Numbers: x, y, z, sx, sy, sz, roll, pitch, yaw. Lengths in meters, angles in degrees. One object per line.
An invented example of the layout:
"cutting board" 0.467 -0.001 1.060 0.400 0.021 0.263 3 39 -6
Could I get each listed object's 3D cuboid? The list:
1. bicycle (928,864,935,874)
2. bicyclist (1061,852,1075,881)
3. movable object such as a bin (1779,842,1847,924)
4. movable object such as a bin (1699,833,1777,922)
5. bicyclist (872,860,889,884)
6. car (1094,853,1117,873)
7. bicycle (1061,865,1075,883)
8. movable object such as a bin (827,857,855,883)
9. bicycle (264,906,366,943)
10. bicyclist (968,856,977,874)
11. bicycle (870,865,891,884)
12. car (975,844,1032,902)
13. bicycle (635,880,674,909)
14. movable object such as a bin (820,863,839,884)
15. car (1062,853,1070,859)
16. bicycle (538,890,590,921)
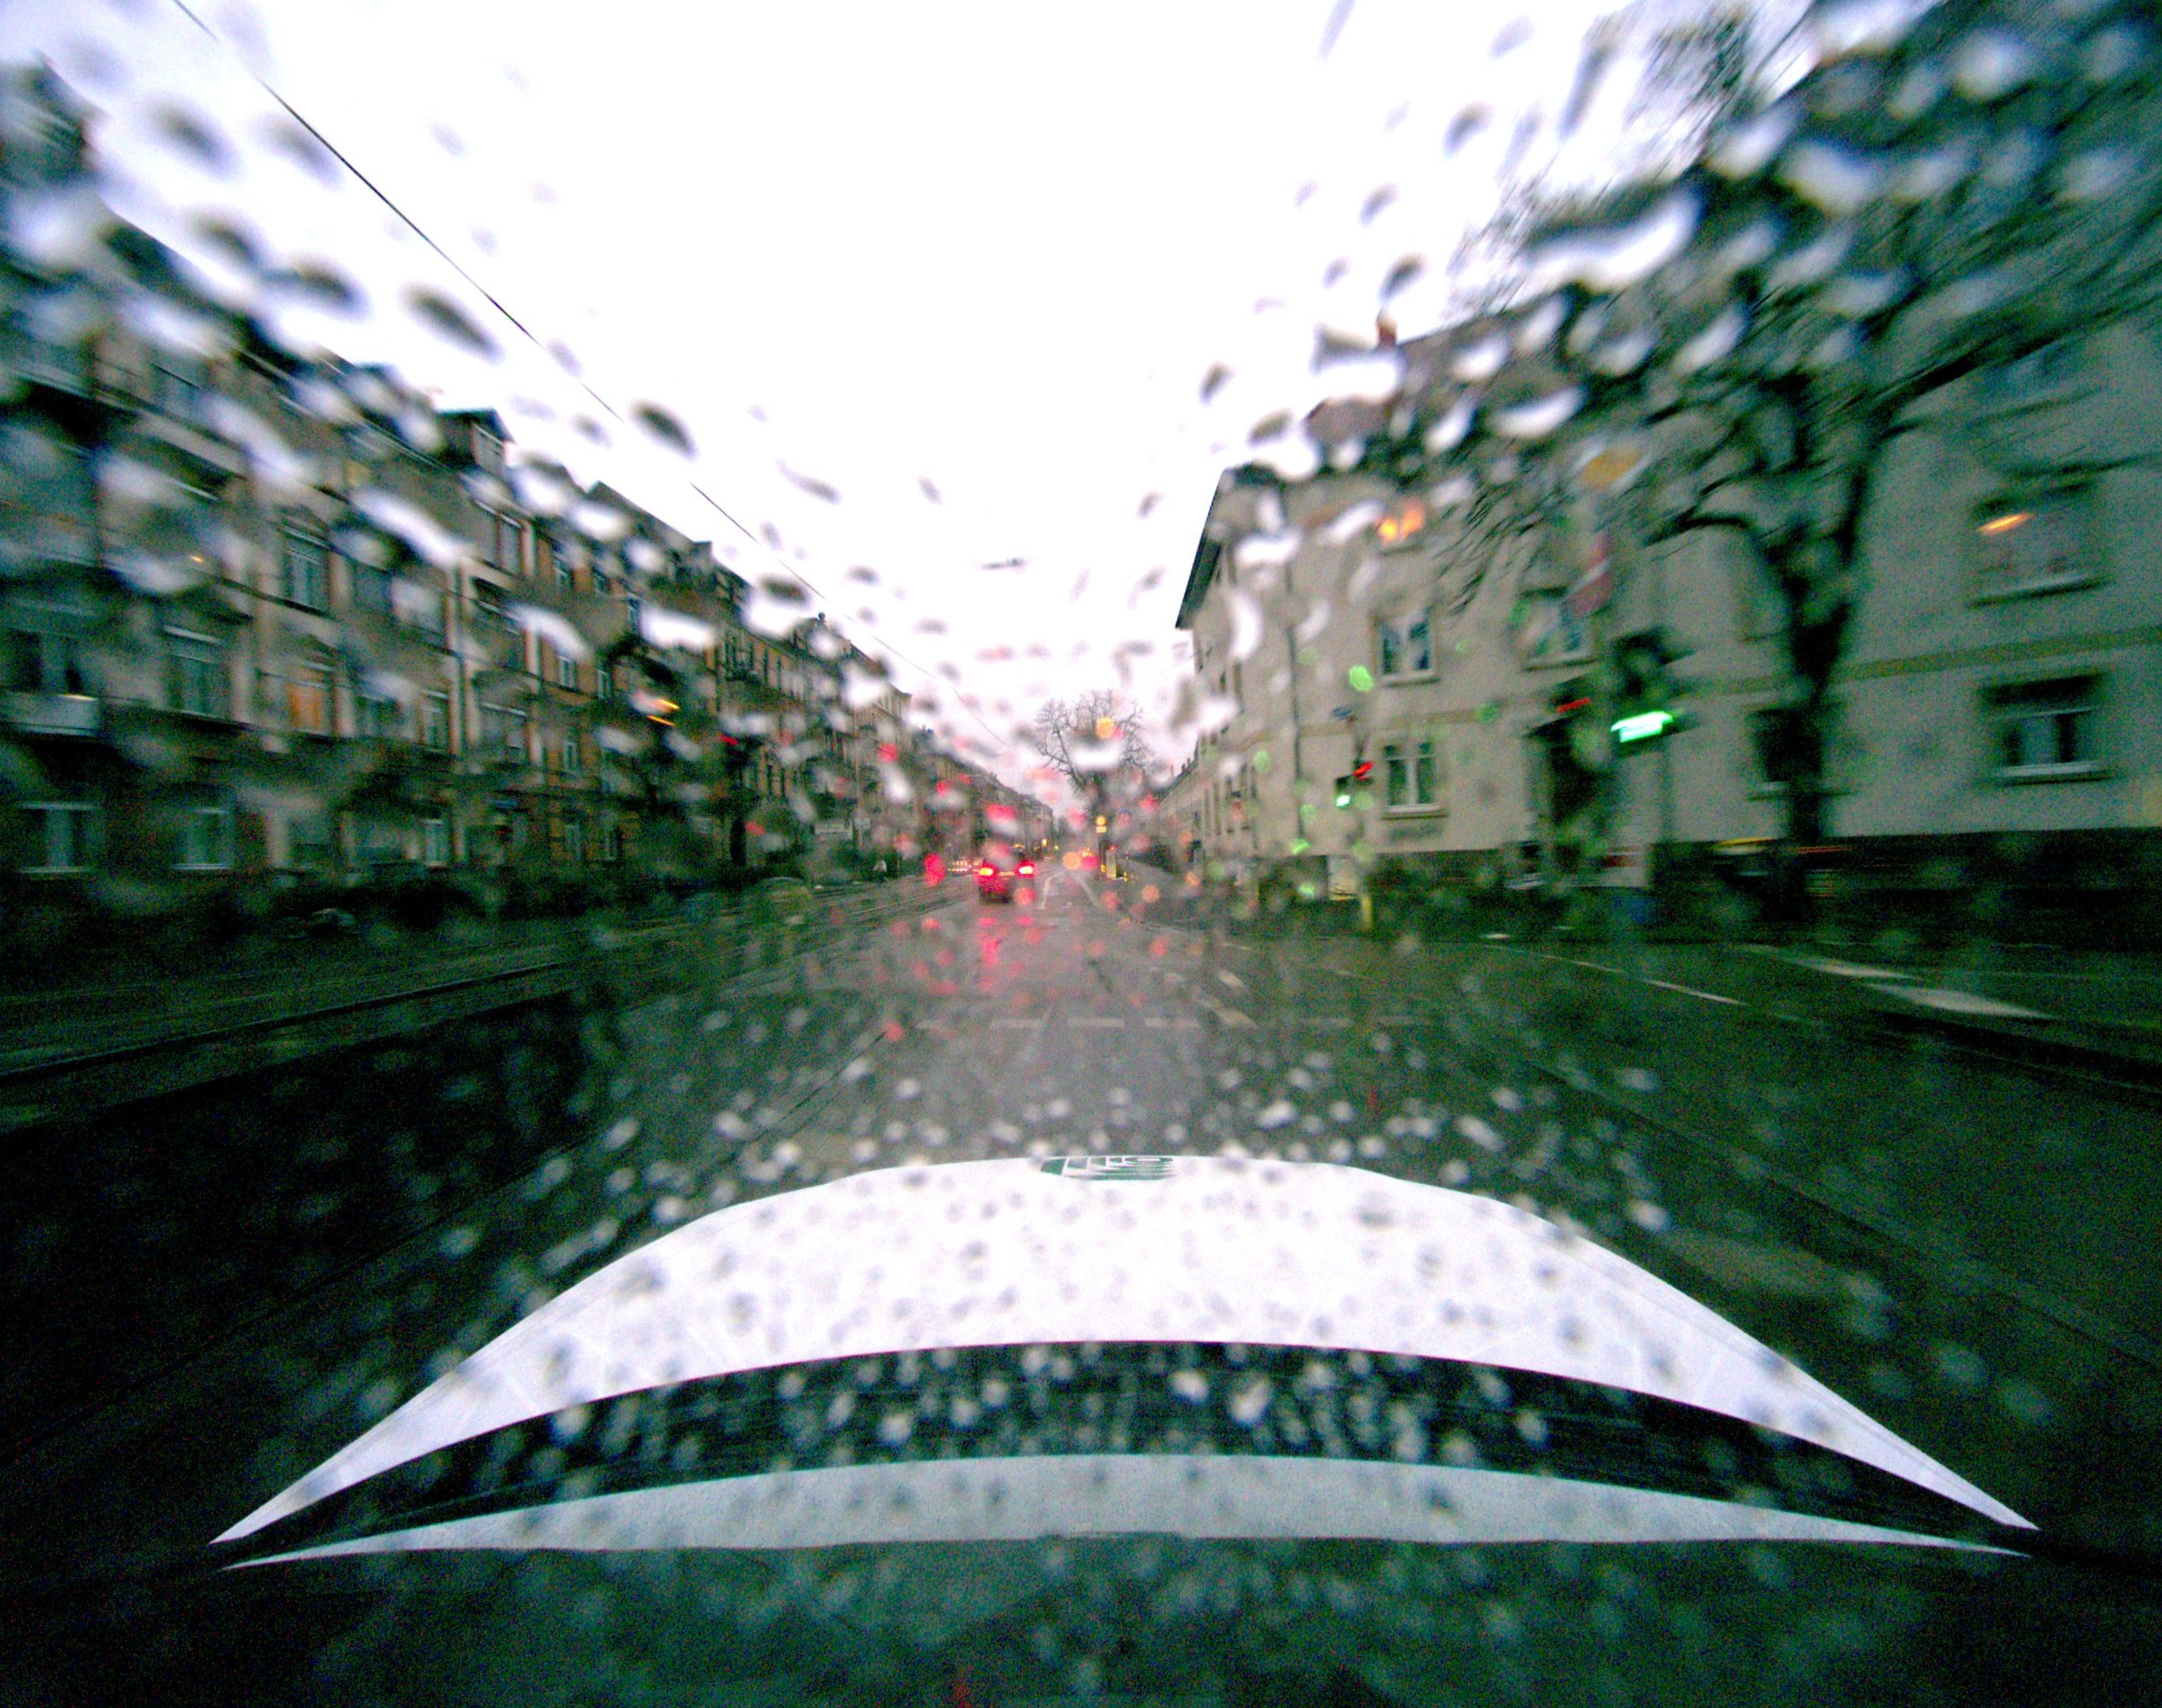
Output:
"bicycle" -13.698 1.369 74.598 0.262 0.915 1.686 3 0 2
"bicyclist" -0.788 0.787 49.931 0.727 1.736 0.766 -2 0 3
"movable object such as a bin" 10.284 0.390 11.447 0.692 1.120 0.542 0 0 44
"movable object such as a bin" 9.683 0.332 12.009 0.844 1.251 0.525 0 0 44
"bicyclist" -11.572 1.056 46.953 0.701 1.364 0.945 0 0 3
"car" 1.972 0.700 67.151 1.779 1.509 3.988 -2 0 1
"bicycle" -0.781 1.203 49.813 0.728 1.007 1.765 -2 0 3
"movable object such as a bin" -15.234 0.985 51.736 1.237 1.586 1.310 -1 0 6
"bicycle" -19.420 1.766 20.681 0.395 0.759 1.822 -2 0 38
"bicyclist" -10.037 1.012 75.505 0.681 1.616 0.766 -2 0 2
"bicycle" -11.567 1.167 46.995 0.679 1.007 1.804 -2 0 3
"car" -2.632 0.614 28.163 1.799 1.871 4.012 1 0 -4
"bicycle" -16.448 1.545 31.443 0.414 1.007 1.850 -3 0 3
"movable object such as a bin" -15.722 1.206 50.935 0.892 1.292 0.746 -2 0 -1
"car" -4.248 0.667 234.359 1.916 1.720 4.002 -2 0 2
"bicycle" -16.862 1.666 26.619 0.398 0.862 1.850 -2 0 3
